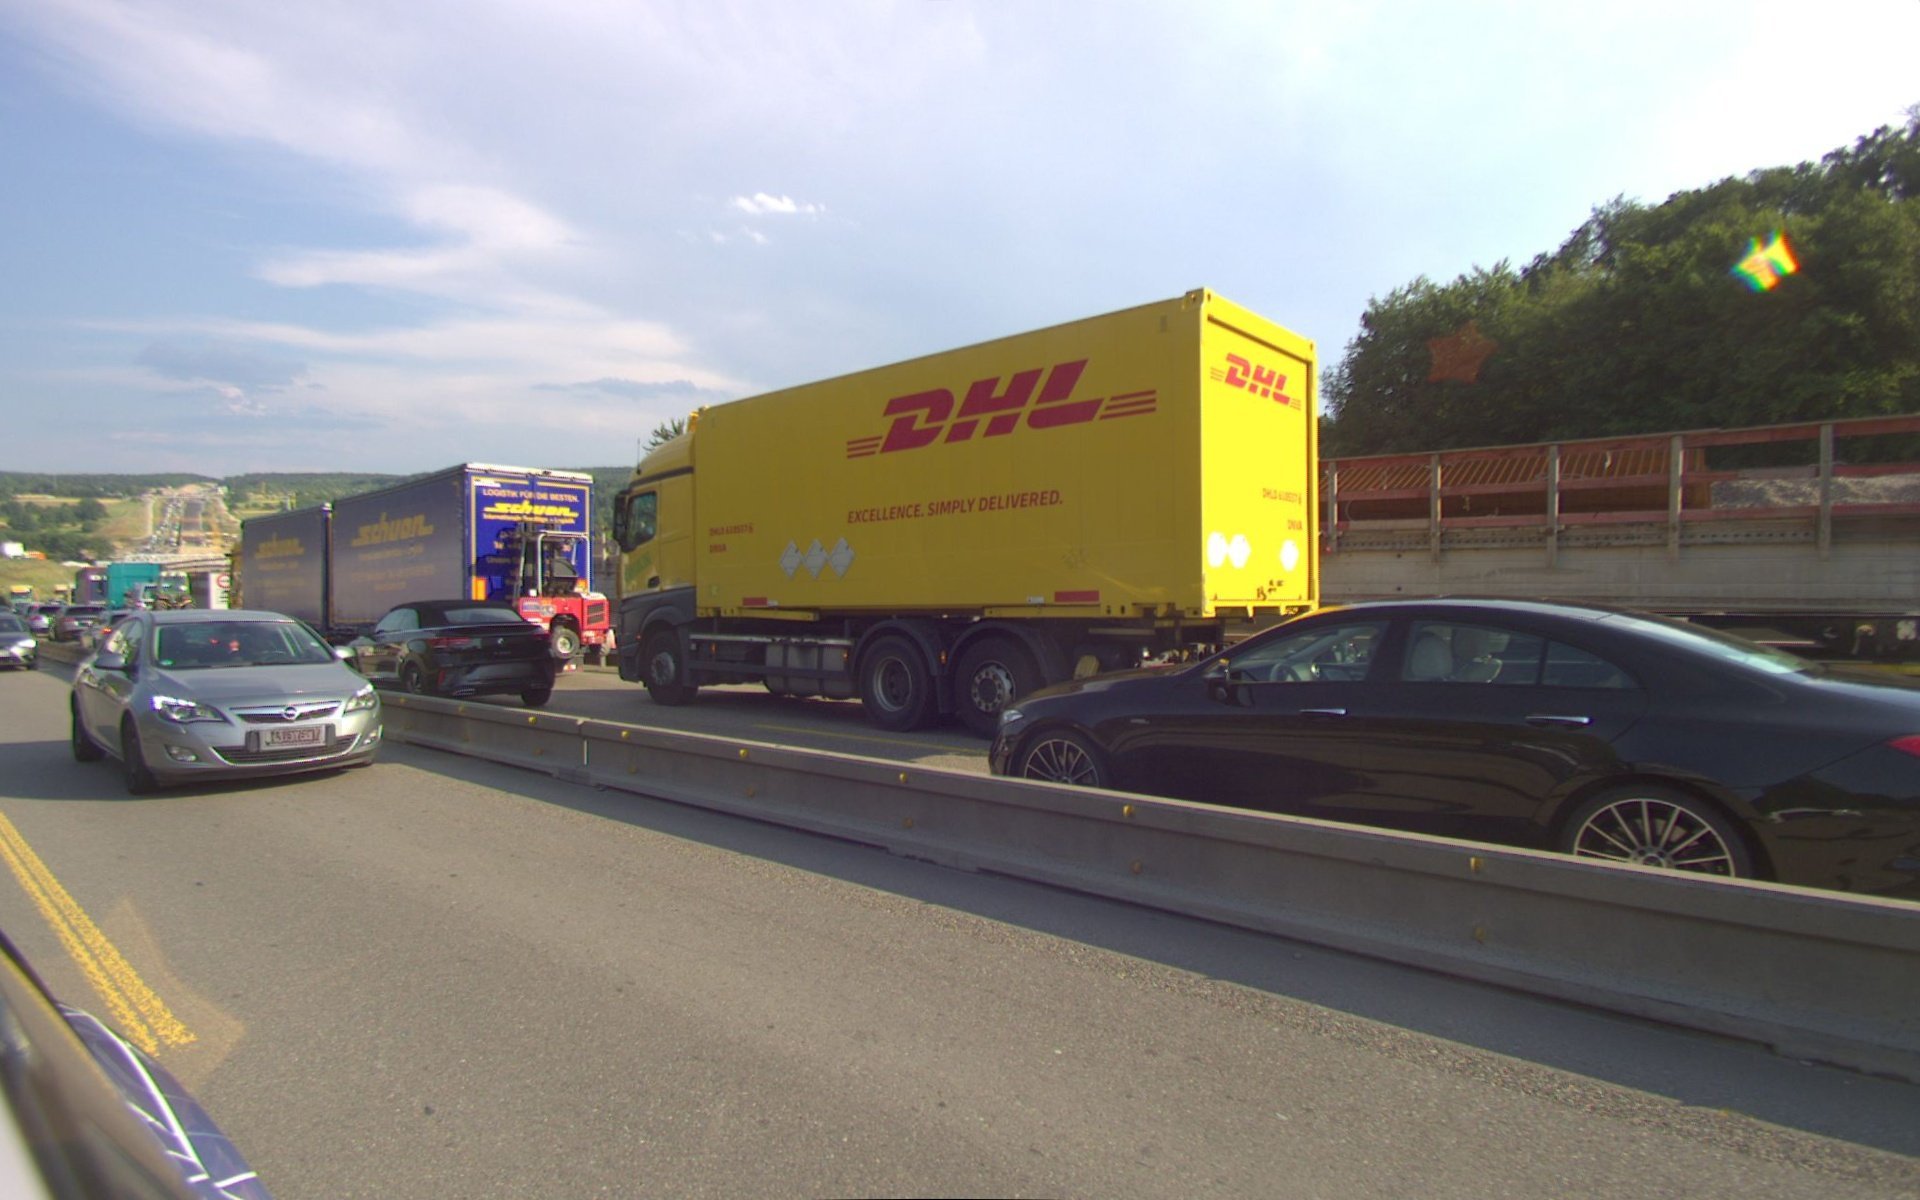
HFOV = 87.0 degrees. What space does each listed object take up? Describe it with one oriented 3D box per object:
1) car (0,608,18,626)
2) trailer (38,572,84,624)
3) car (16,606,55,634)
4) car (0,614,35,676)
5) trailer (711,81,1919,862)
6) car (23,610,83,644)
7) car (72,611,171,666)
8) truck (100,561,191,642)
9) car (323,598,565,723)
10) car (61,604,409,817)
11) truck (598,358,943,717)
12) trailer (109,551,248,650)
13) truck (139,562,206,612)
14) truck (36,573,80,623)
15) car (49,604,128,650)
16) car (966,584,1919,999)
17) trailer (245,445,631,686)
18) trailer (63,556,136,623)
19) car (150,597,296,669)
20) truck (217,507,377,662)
[{"bbox_3d":[-96.429,1.728,102.142,1.840,1.598,4.751,-4,4,-43],"label":"car"},{"bbox_3d":[-80.842,-0.158,90.965,2.877,4.499,7.159,-1,1,-44],"label":"trailer"},{"bbox_3d":[-69.438,1.498,75.968,5.133,1.948,1.803,0,-2,45],"label":"car"},{"bbox_3d":[-24.357,1.111,25.209,1.797,1.452,4.003,-2,1,-44],"label":"car"},{"bbox_3d":[3.663,-0.708,8.645,15.992,4.235,2.673,0,0,42],"label":"trailer"},{"bbox_3d":[-47.998,1.413,53.524,4.849,1.657,1.938,0,0,43],"label":"car"},{"bbox_3d":[-25.855,1.125,31.146,4.725,1.509,1.769,0,0,43],"label":"car"},{"bbox_3d":[-41.432,0.125,51.403,7.114,3.834,2.718,0,-2,44],"label":"truck"},{"bbox_3d":[-7.512,0.744,14.543,4.291,1.519,1.698,0,0,42],"label":"car"},{"bbox_3d":[-6.732,0.797,9.219,4.118,1.498,1.786,0,0,43],"label":"car"},{"bbox_3d":[-2.768,-0.745,14.384,4.396,4.228,2.665,0,0,41],"label":"truck"},{"bbox_3d":[-35.539,0.083,45.611,16.052,3.845,2.718,0,-1,44],"label":"trailer"},{"bbox_3d":[-70.839,-1.068,90.914,3.122,4.154,12.499,2,-2,-45],"label":"truck"},{"bbox_3d":[-84.476,-0.150,94.726,2.885,4.548,5.032,0,0,-44],"label":"truck"},{"bbox_3d":[-35.094,1.035,40.701,4.691,1.714,1.906,0,0,43],"label":"car"},{"bbox_3d":[2.434,0.647,5.340,4.901,1.412,1.721,0,0,41],"label":"car"},{"bbox_3d":[-13.397,-0.628,24.233,16.752,4.166,2.685,0,0,43],"label":"trailer"},{"bbox_3d":[-58.202,-0.605,68.335,2.684,4.154,12.499,2,-2,-45],"label":"trailer"},{"bbox_3d":[-16.897,0.679,23.107,4.615,1.464,1.778,0,0,42],"label":"car"},{"bbox_3d":[-19.901,-0.420,30.279,5.794,4.172,2.672,0,0,43],"label":"truck"}]
